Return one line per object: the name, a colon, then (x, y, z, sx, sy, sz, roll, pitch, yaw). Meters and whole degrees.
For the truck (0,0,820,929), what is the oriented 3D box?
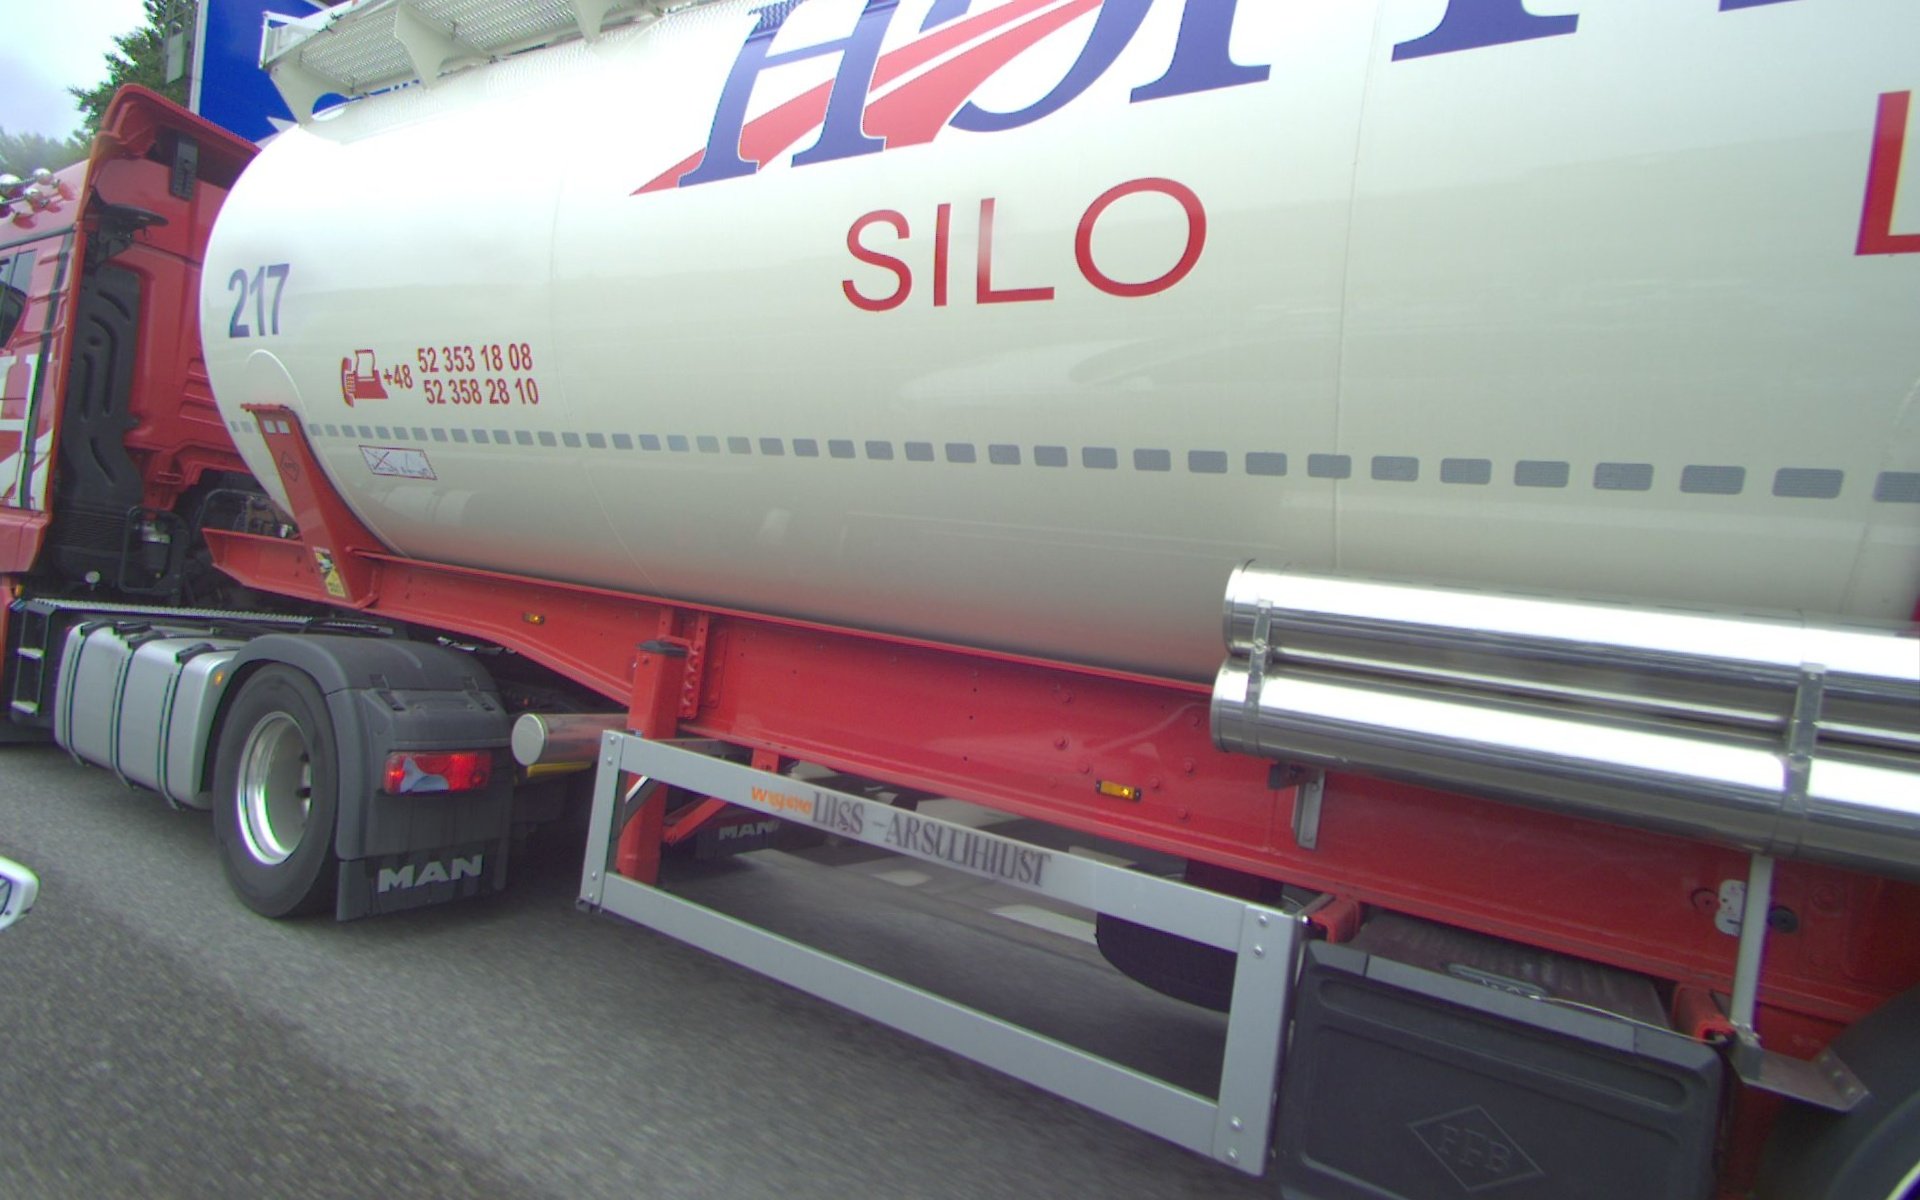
truck: (-4.507, -0.912, 6.696, 6.447, 3.959, 2.699, 7, 0, 32)

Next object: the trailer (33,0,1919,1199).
trailer: (1.755, -0.239, 2.791, 12.911, 3.986, 2.672, 7, -1, 32)
